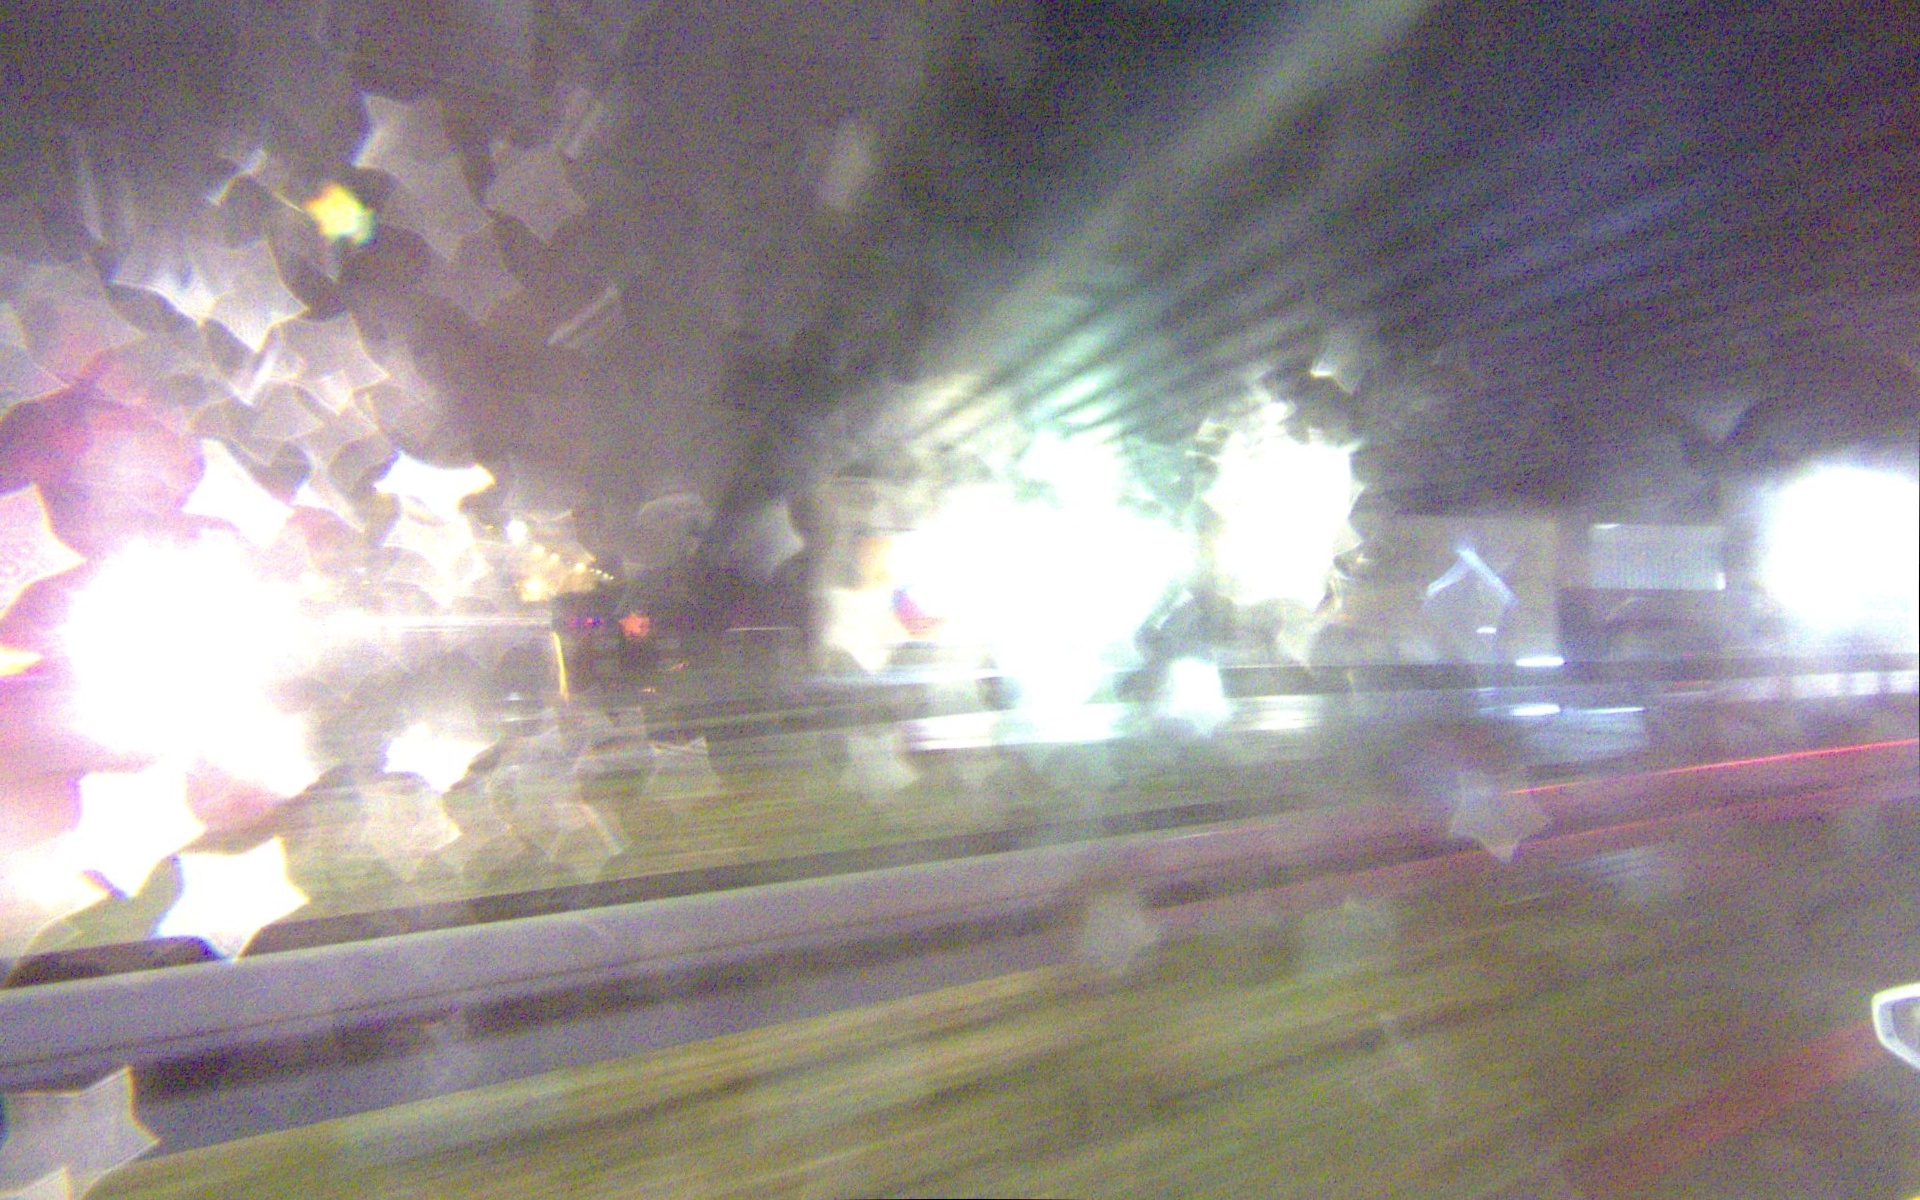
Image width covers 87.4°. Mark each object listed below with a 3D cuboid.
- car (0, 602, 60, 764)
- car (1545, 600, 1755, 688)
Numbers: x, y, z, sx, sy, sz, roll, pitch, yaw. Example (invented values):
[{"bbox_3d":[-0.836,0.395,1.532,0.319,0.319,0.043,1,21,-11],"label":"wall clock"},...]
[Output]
[{"bbox_3d":[-10.803,0.701,8.436,4.563,1.408,1.884,1,0,-34],"label":"car"},{"bbox_3d":[13.435,0.819,19.513,4.258,1.557,1.590,1,0,-28],"label":"car"}]
